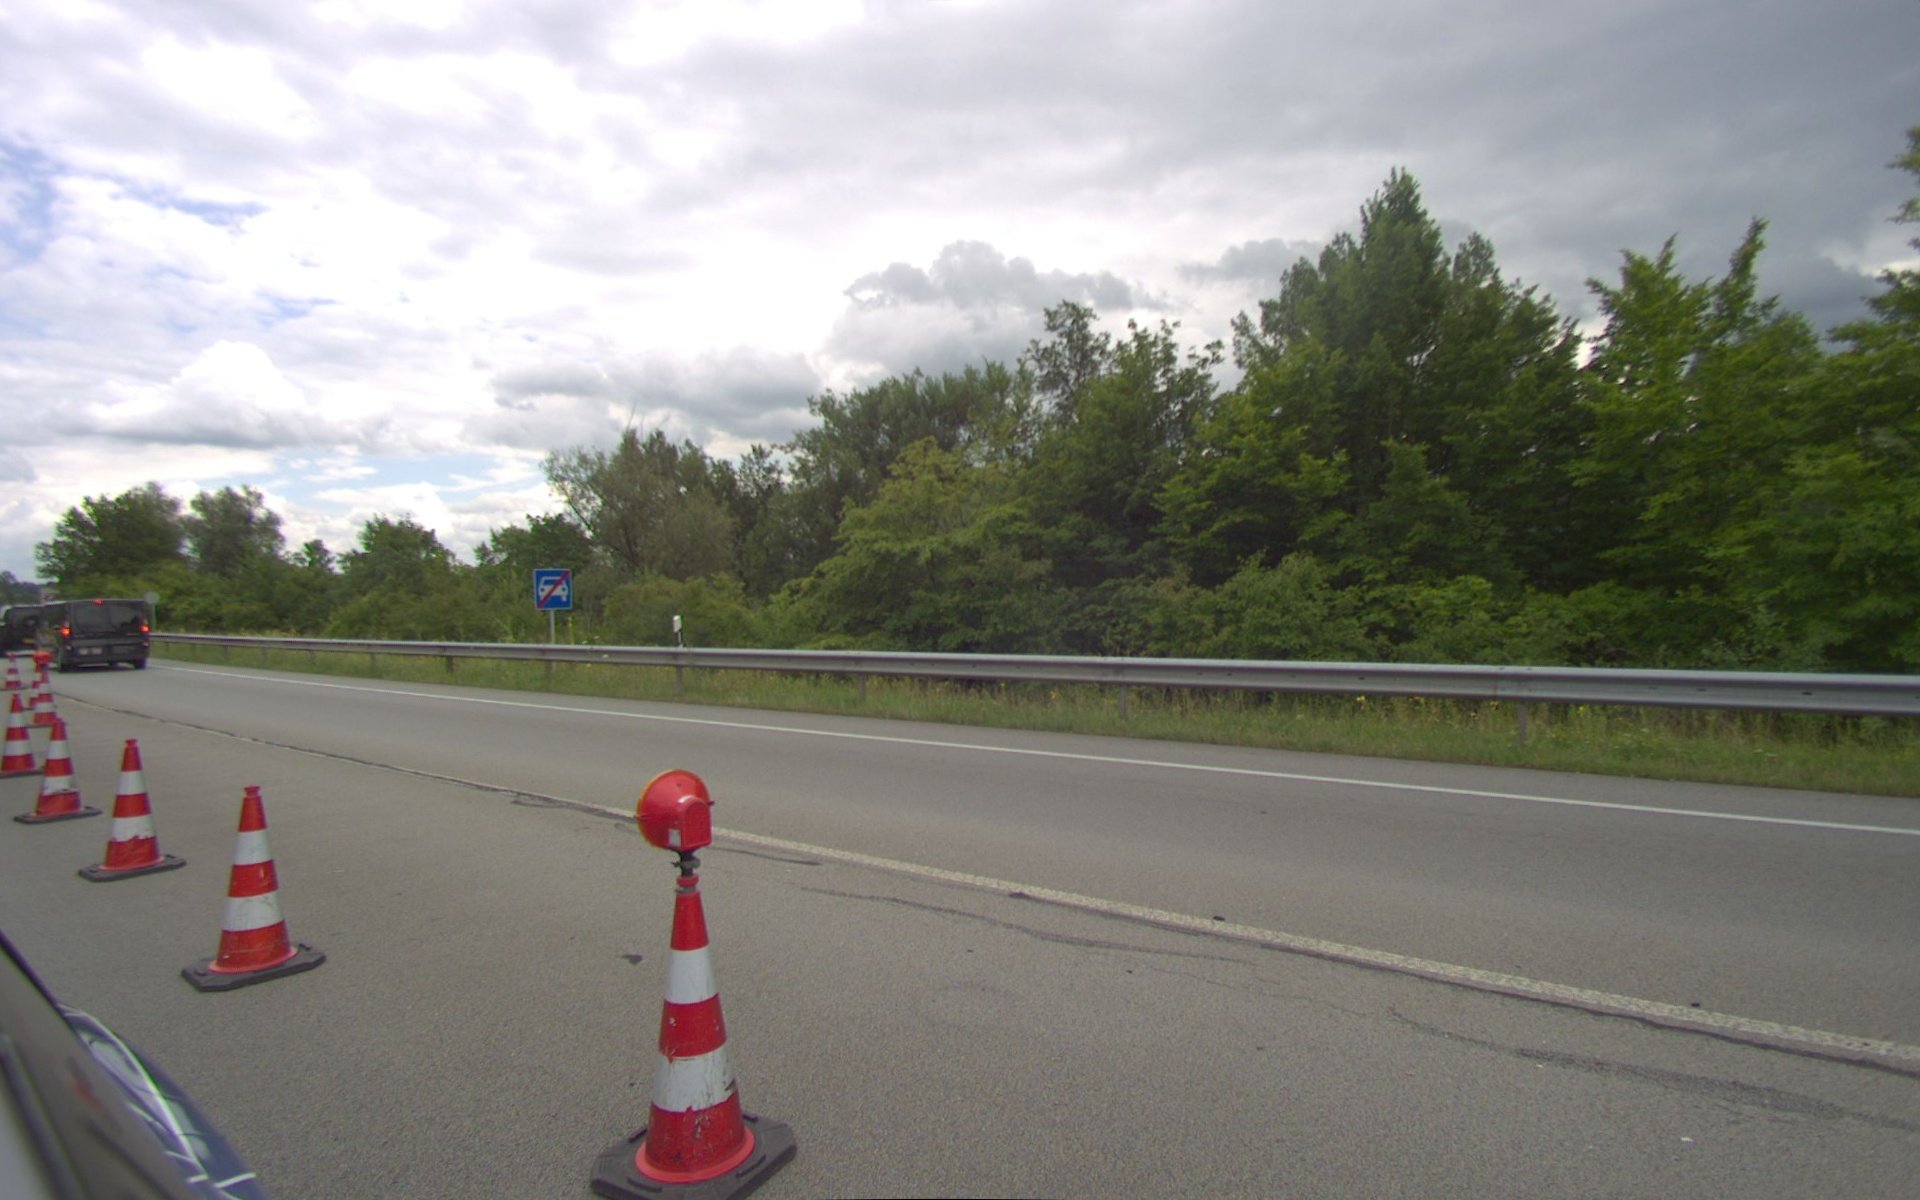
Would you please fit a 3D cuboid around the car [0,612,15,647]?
[{"bbox_3d":[-52.713,1.606,54.853,4.532,1.844,1.903,-1,0,43],"label":"car"}]

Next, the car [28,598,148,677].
[{"bbox_3d":[-24.449,0.998,28.296,5.316,2.002,2.007,-1,0,43],"label":"car"}]

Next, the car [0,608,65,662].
[{"bbox_3d":[-35.425,1.300,38.266,4.532,1.898,1.945,-1,0,43],"label":"car"}]
